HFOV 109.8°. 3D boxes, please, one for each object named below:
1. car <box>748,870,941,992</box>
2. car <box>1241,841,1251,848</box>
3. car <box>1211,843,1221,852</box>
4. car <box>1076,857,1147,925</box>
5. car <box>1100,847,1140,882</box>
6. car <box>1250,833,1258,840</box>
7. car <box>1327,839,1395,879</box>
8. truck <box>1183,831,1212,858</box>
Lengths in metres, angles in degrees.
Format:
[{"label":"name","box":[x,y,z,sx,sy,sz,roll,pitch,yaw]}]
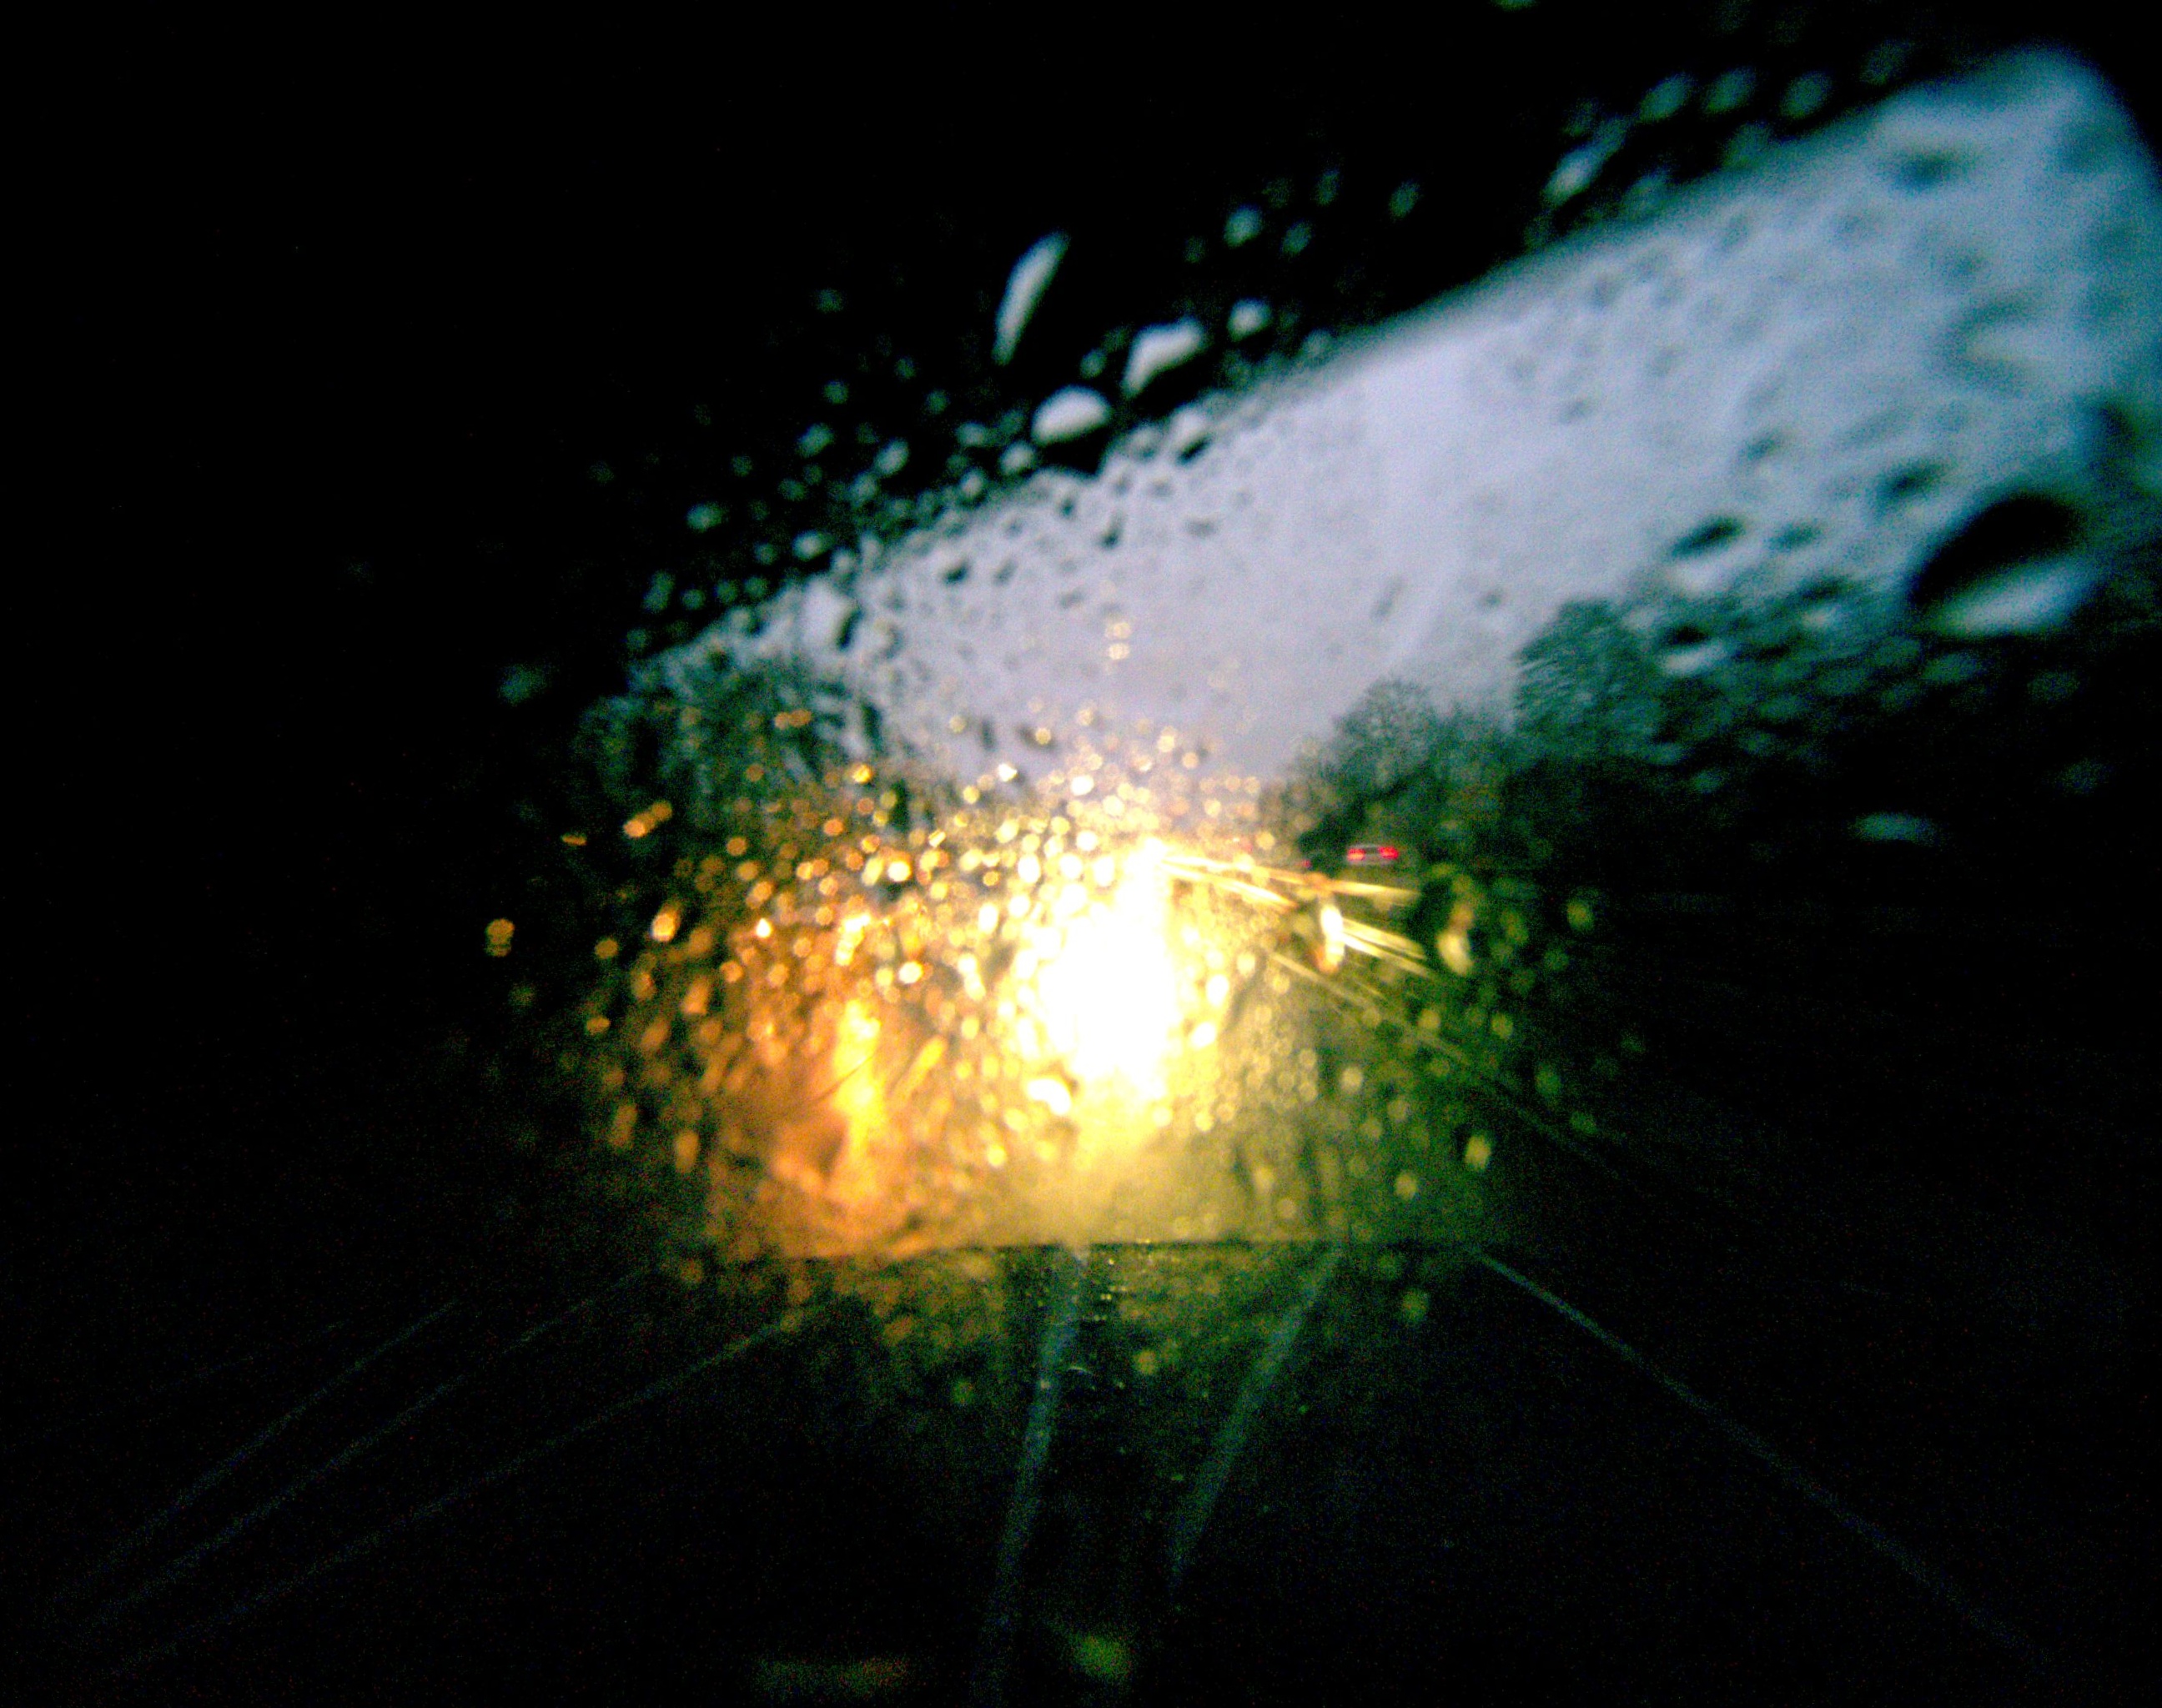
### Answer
[{"label":"car","box":[-3.826,1.164,13.169,1.854,1.493,4.261,-4,1,1]},{"label":"car","box":[40.132,-2.395,184.722,1.866,1.530,4.114,-3,1,8]},{"label":"car","box":[28.320,-1.439,159.723,1.695,1.657,4.434,-3,1,7]},{"label":"car","box":[0.749,0.890,20.055,1.595,1.445,4.176,-3,1,1]},{"label":"car","box":[2.100,0.501,39.587,1.758,1.521,4.001,-3,1,6]},{"label":"car","box":[48.458,-5.029,212.648,1.884,1.822,4.789,-3,1,9]},{"label":"car","box":[12.690,0.190,34.701,1.586,1.660,4.296,-2,0,2]},{"label":"truck","box":[14.892,-1.302,97.598,2.720,3.143,7.729,-4,1,4]}]
